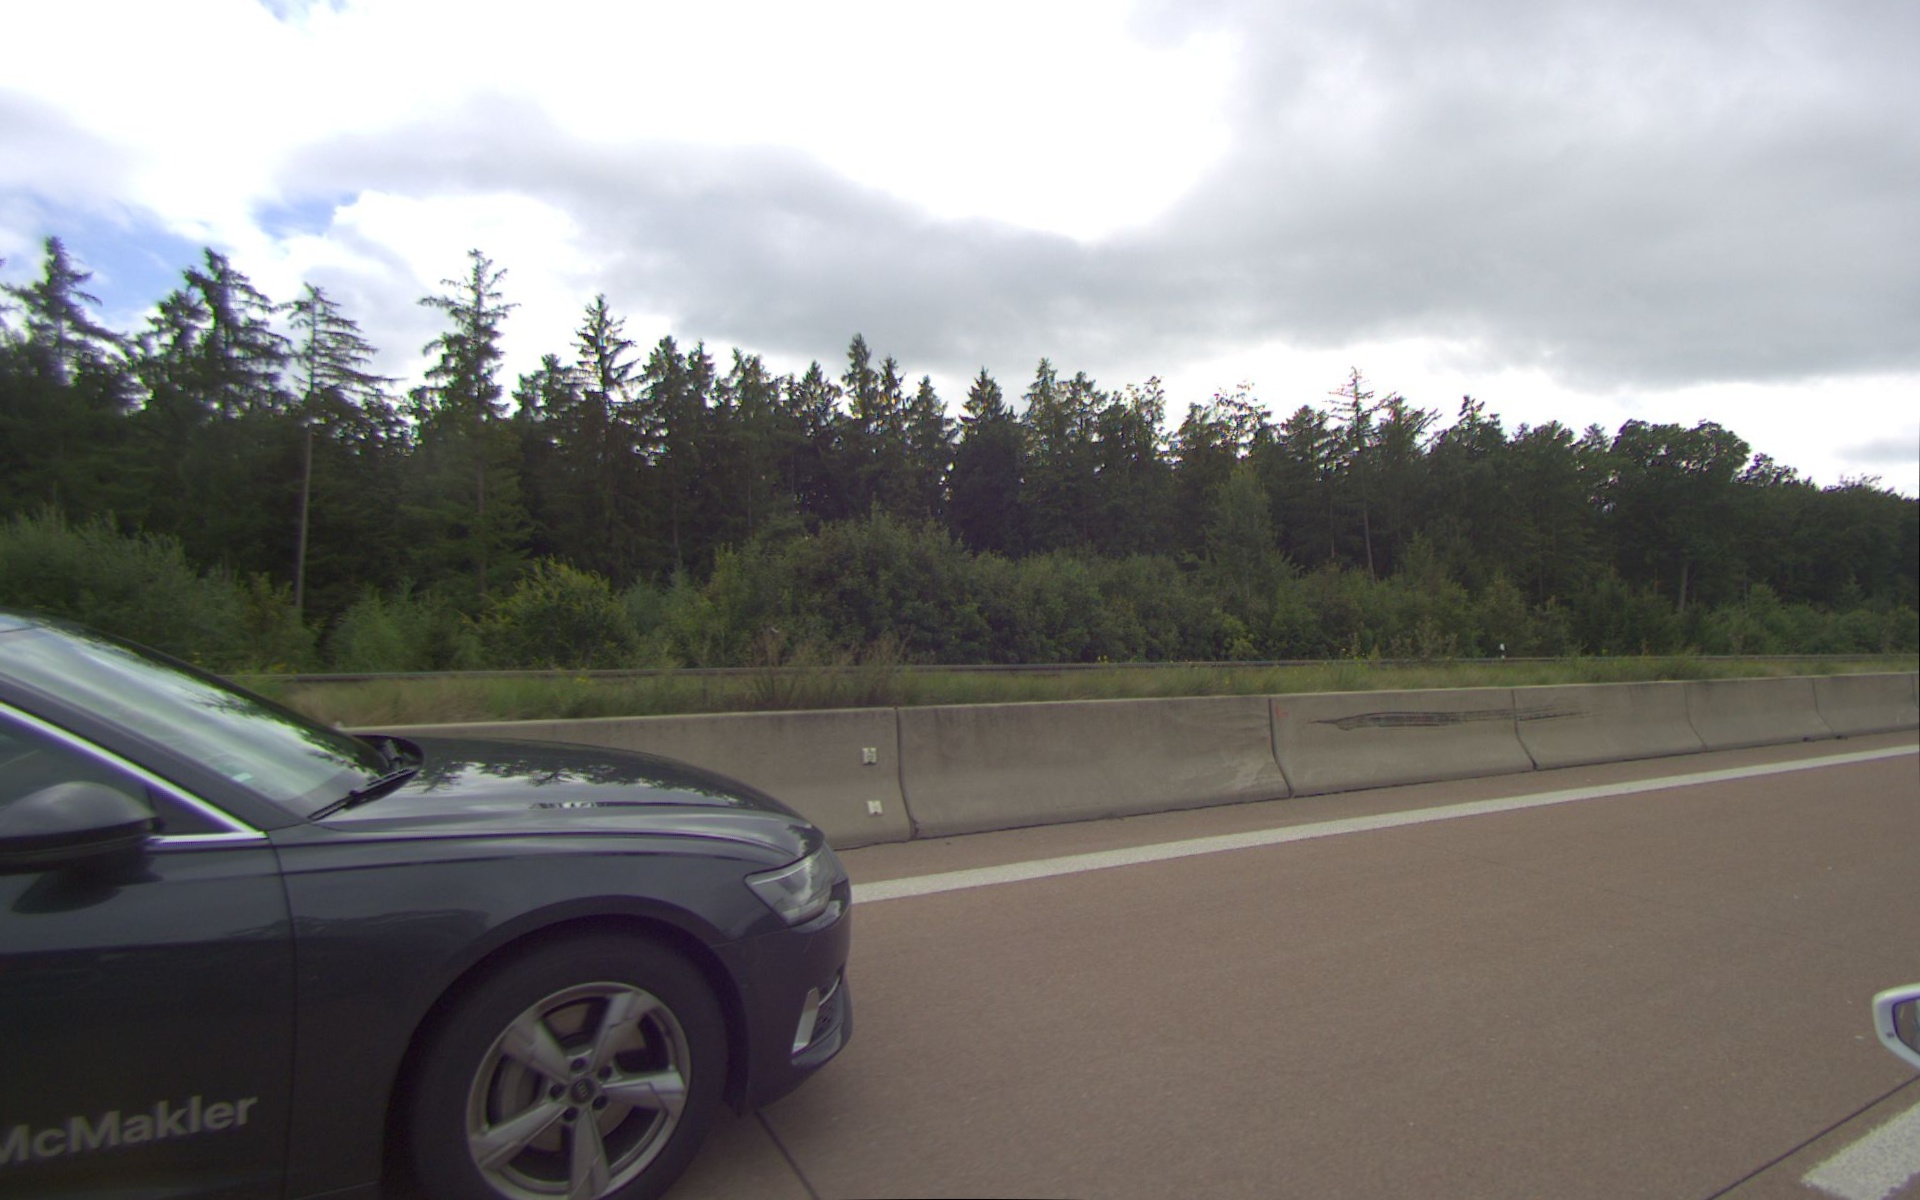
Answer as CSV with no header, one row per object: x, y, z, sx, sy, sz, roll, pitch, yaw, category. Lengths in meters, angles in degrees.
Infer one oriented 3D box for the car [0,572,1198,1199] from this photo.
-2.114,0.704,2.588,5.388,1.511,2.049,1,0,-30,car
